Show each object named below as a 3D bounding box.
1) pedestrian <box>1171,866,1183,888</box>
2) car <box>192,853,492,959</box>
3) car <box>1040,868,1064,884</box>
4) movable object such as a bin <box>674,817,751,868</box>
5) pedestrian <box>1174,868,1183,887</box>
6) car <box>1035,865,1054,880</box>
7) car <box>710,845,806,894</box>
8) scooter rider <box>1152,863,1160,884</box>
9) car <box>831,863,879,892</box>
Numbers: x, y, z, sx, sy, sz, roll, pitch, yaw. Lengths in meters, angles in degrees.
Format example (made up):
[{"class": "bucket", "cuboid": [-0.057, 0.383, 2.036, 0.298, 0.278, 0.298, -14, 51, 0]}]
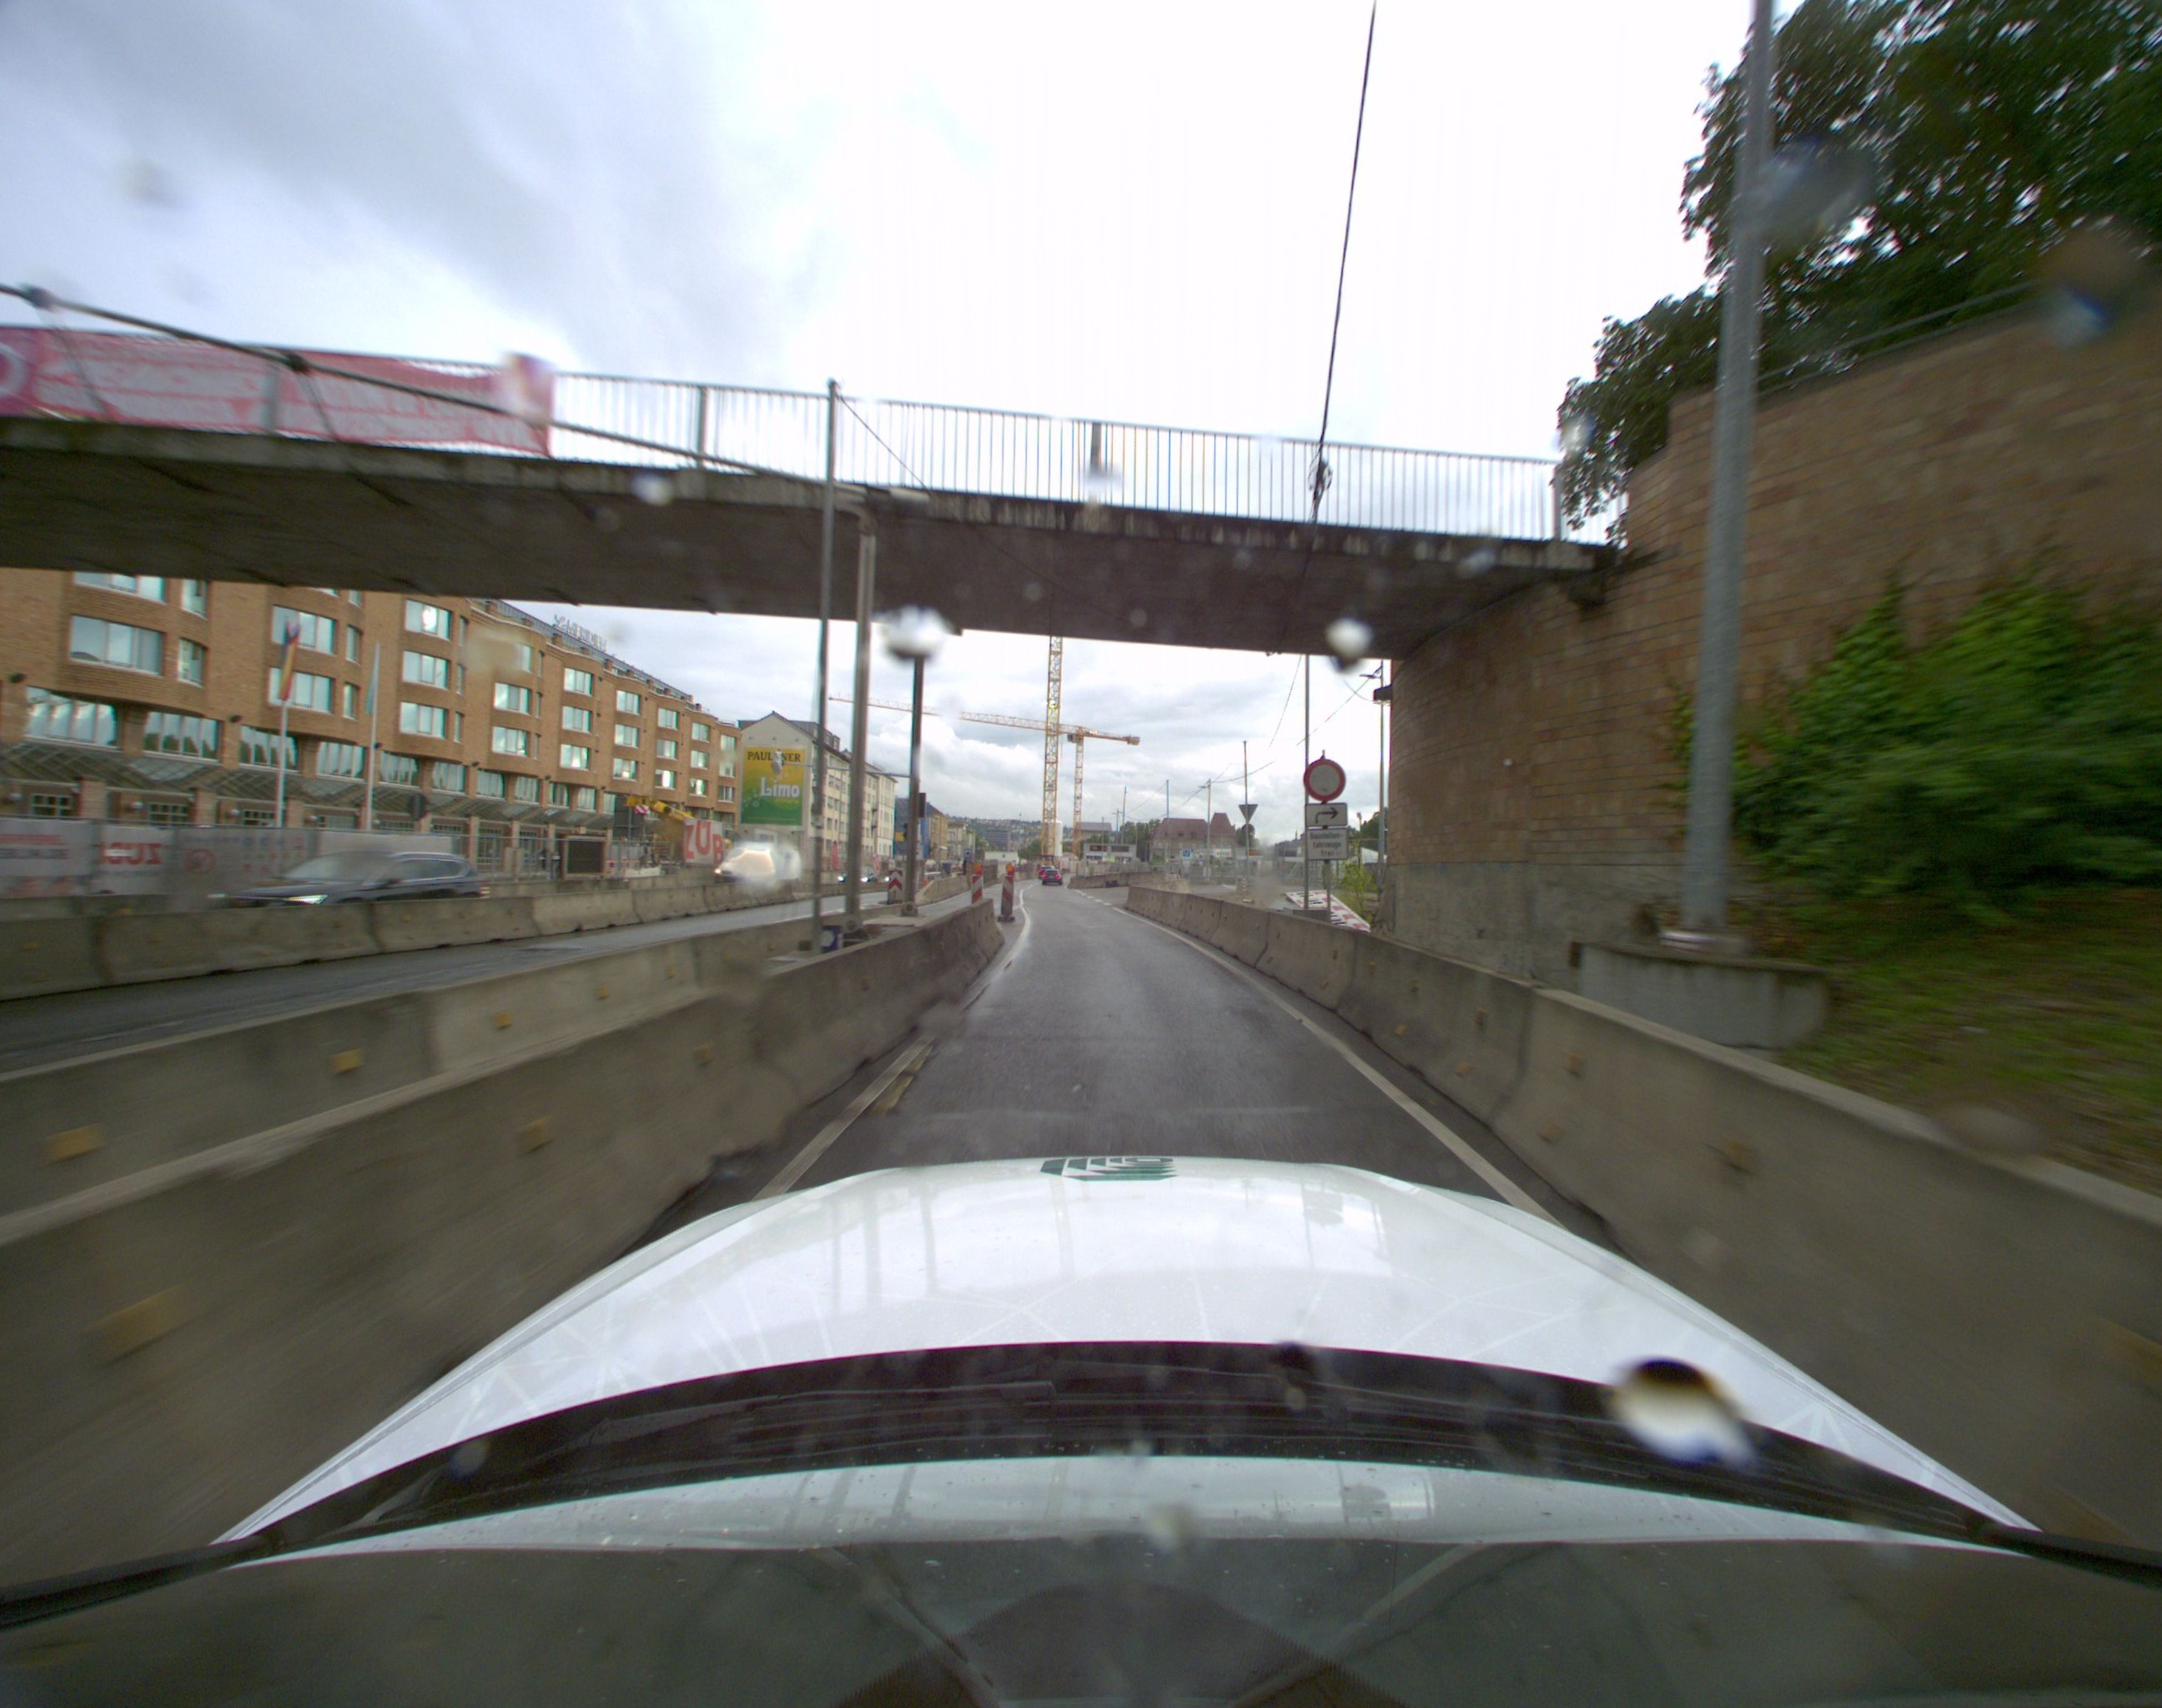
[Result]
[{"class": "pedestrian", "cuboid": [7.948, 1.877, 67.503, 0.692, 1.778, 0.810, 2, -2, -20]}, {"class": "car", "cuboid": [-12.956, 0.812, 14.679, 1.800, 1.623, 3.902, 1, 0, 0]}, {"class": "car", "cuboid": [-2.675, 2.071, 76.667, 1.856, 1.433, 4.658, 2, -1, 2]}, {"class": "movable object such as a bin", "cuboid": [-17.725, -0.520, 39.417, 2.023, 2.277, 4.284, -2, -1, -5]}, {"class": "pedestrian", "cuboid": [9.524, 2.286, 79.715, 0.688, 1.778, 1.022, 1, -2, -2]}, {"class": "car", "cuboid": [-4.299, 2.237, 97.082, 1.856, 1.661, 4.658, 2, -1, 2]}, {"class": "car", "cuboid": [-13.067, 0.579, 33.361, 1.800, 1.821, 5.299, 1, 0, 0]}, {"class": "scooter rider", "cuboid": [6.398, 1.646, 69.576, 0.517, 1.755, 0.702, 1, -1, 16]}, {"class": "car", "cuboid": [-13.792, 1.389, 49.878, 1.800, 1.623, 4.033, 1, 0, 0]}]
